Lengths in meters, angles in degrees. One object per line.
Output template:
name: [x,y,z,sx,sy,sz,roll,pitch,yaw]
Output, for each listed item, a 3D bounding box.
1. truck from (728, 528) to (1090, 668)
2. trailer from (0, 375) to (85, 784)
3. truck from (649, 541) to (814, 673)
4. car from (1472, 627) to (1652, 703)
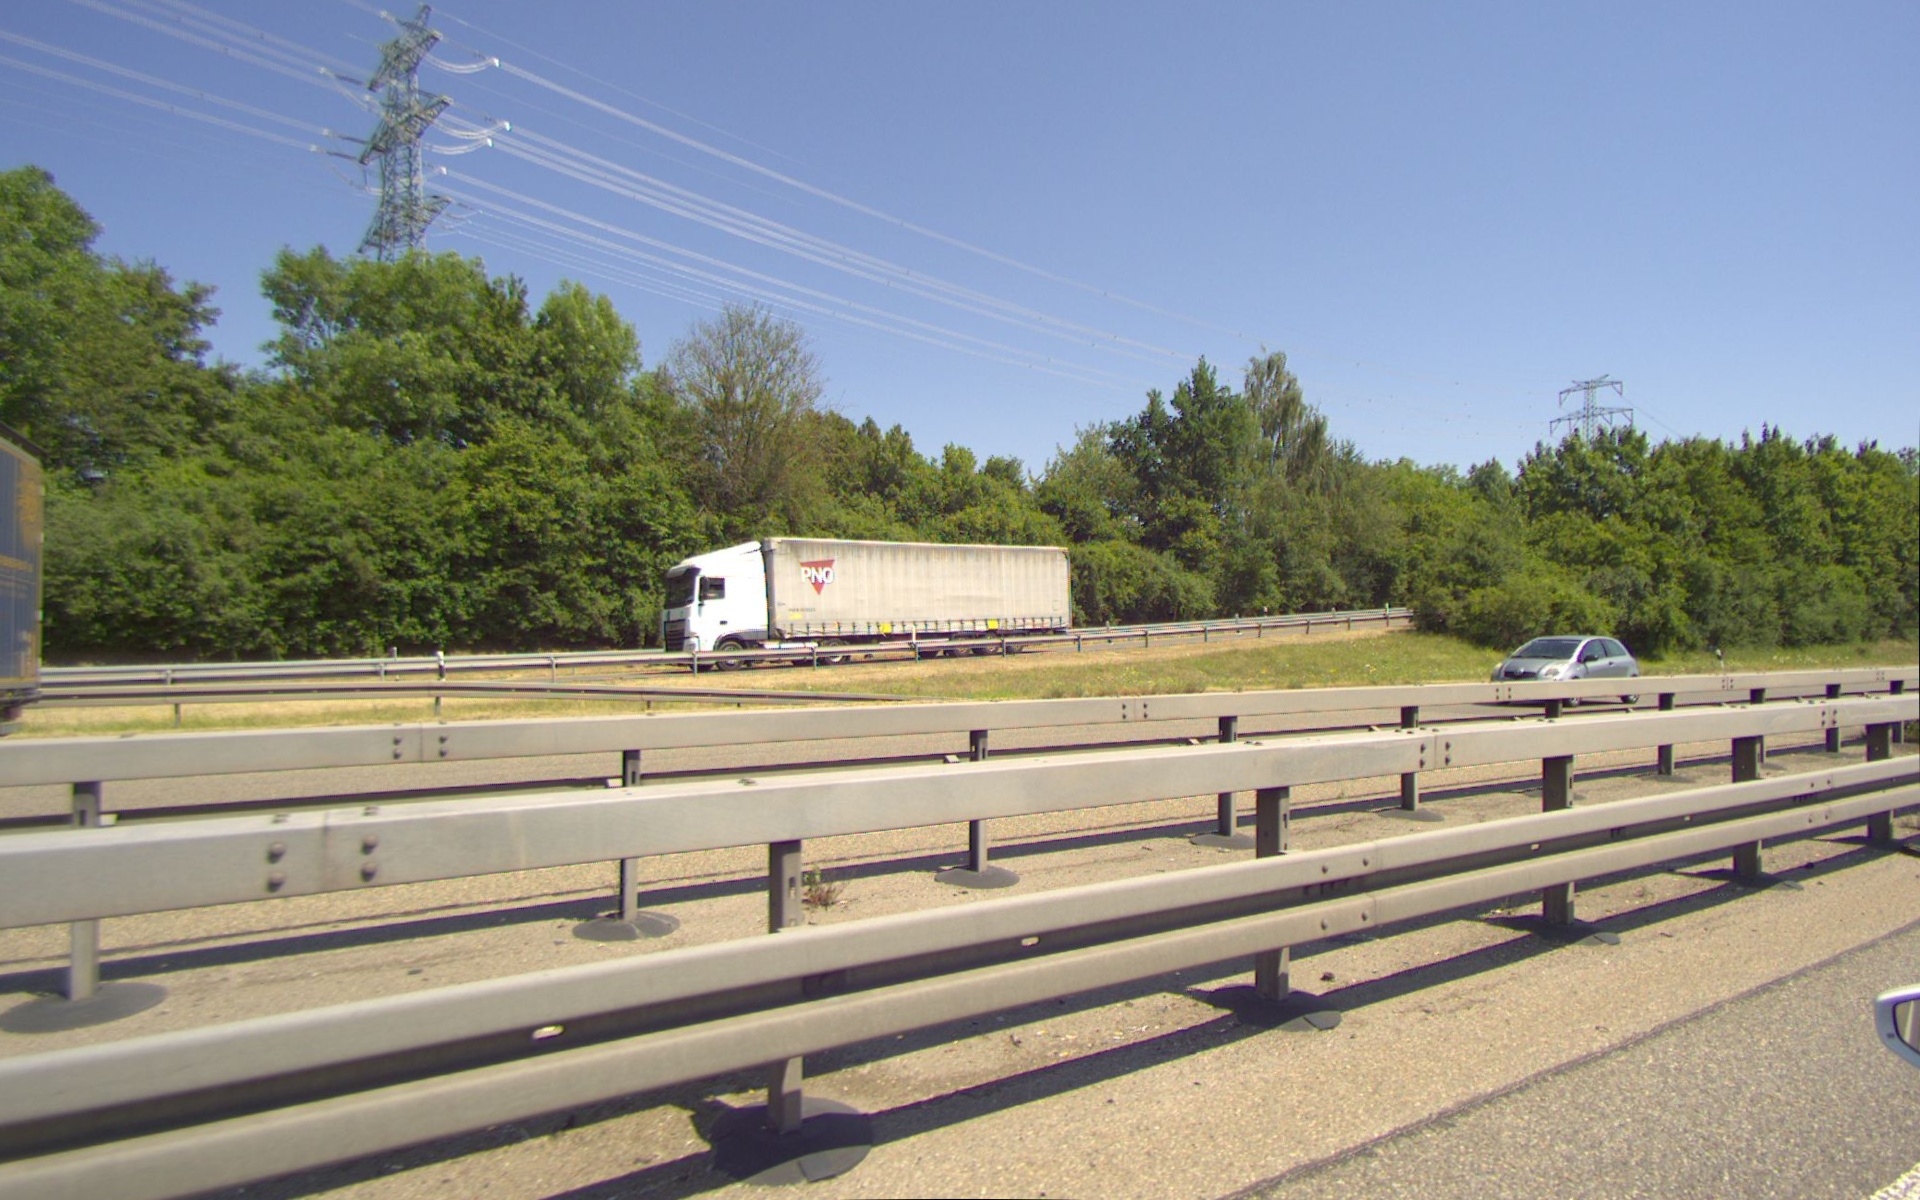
truck: [-1.300,-0.177,37.357,14.419,4.399,2.972,-2,0,-39]
trailer: [-16.900,-0.304,8.656,13.654,4.398,3.159,1,-1,-31]
truck: [-7.368,0.198,32.436,4.286,3.948,2.921,-2,0,-39]
car: [13.303,1.418,22.171,3.839,1.550,1.773,1,-4,-31]
